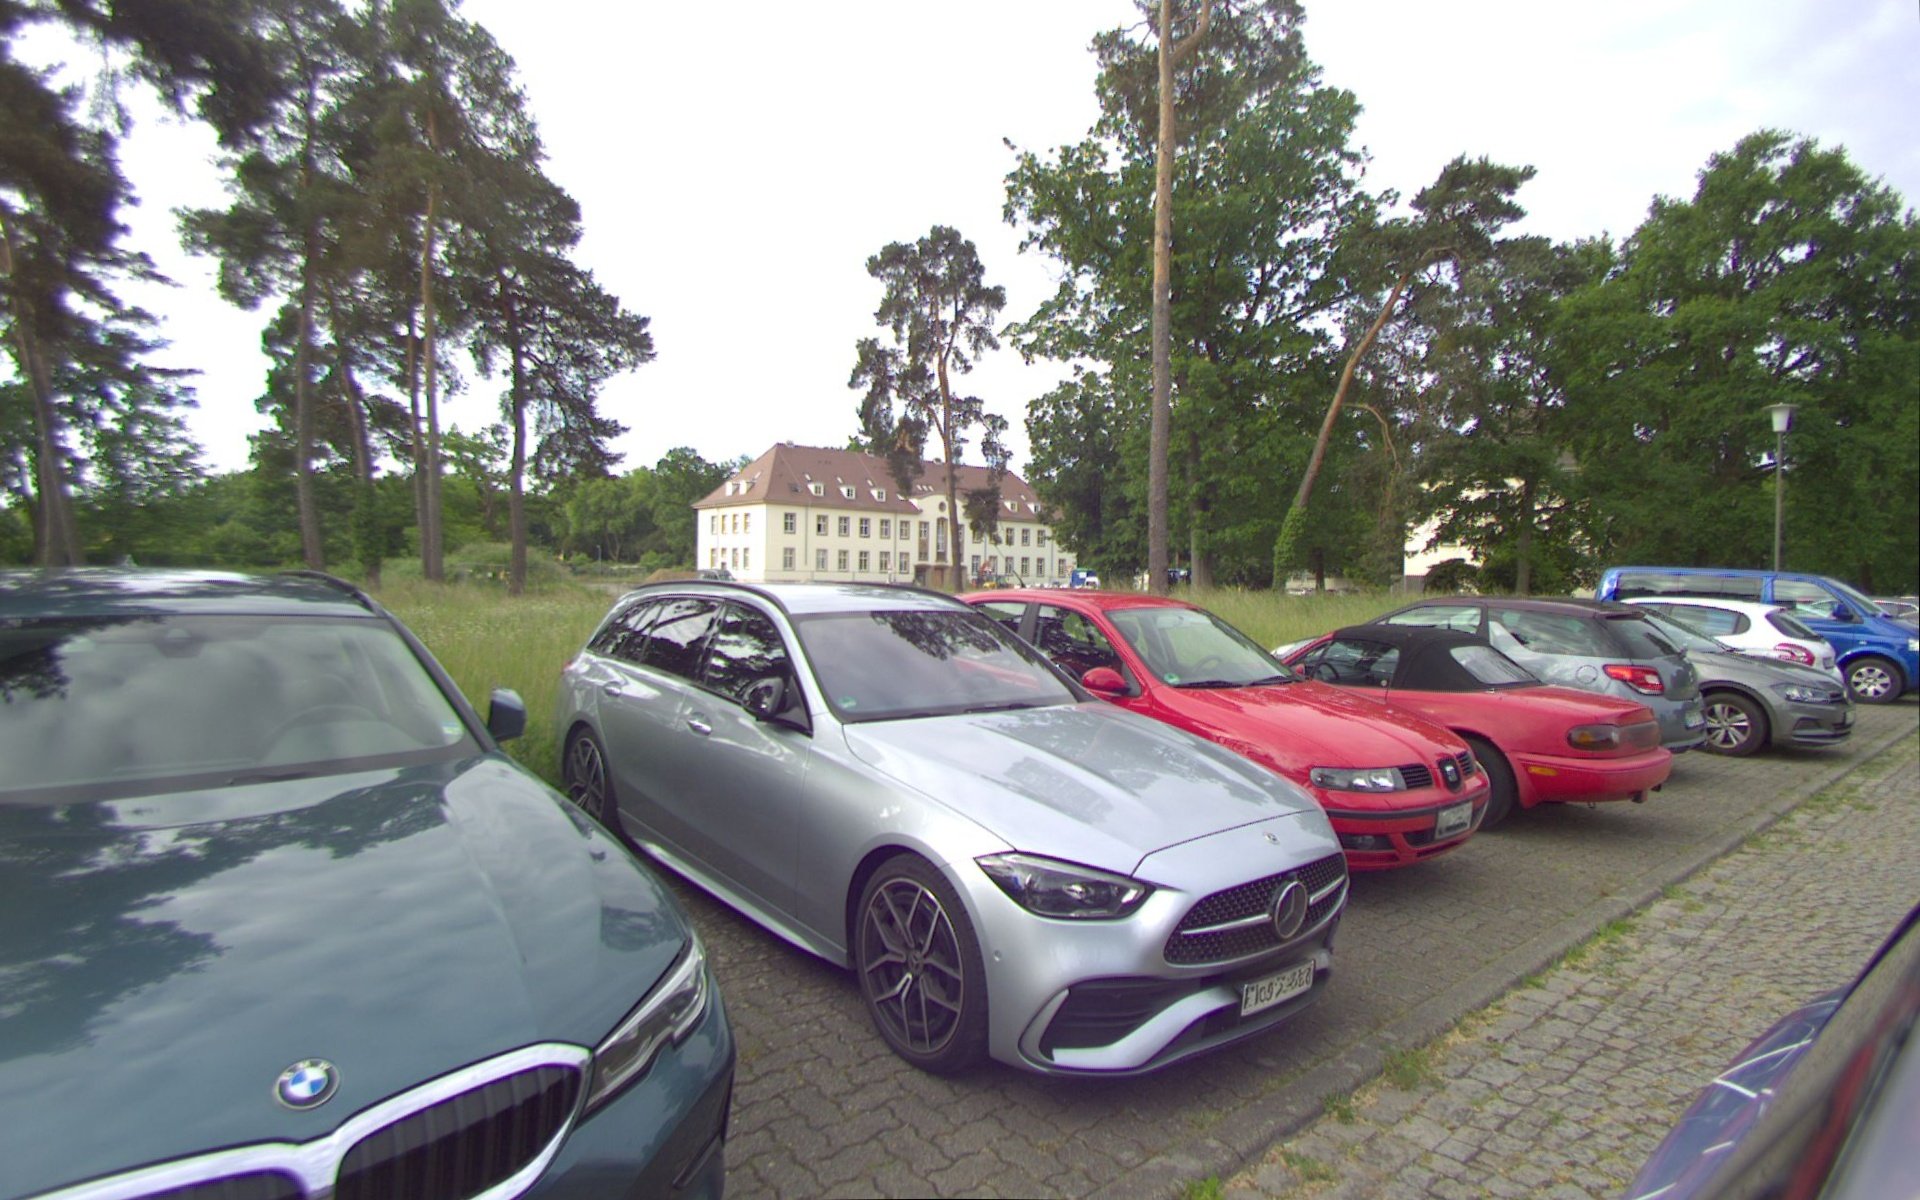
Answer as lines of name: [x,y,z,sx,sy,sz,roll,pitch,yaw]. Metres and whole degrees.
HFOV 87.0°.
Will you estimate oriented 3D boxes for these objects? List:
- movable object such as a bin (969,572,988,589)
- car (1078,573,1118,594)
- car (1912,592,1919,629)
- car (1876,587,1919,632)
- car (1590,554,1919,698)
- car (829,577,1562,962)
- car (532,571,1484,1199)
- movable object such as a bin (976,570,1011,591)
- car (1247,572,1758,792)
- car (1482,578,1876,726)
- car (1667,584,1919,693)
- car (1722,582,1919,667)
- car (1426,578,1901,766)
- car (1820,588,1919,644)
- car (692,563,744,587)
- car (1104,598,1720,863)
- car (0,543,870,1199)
movable object such as a bin: [2.205,-2.343,120.228,1.522,2.039,2.991,1,1,-13]
car: [13.831,-1.616,101.429,1.994,2.039,3.935,2,1,45]
car: [38.789,0.502,38.295,1.555,1.443,3.875,0,3,-41]
car: [35.109,0.401,35.561,1.555,1.557,4.148,0,3,-41]
car: [13.405,0.324,16.566,1.968,1.969,4.817,0,3,-41]
car: [1.122,0.672,6.452,1.838,1.434,4.272,0,3,-40]
car: [-0.252,0.682,4.754,1.839,1.434,4.429,0,3,-43]
movable object such as a bin: [3.401,-1.975,103.108,3.180,2.039,1.682,0,1,-33]
car: [4.910,0.573,9.588,1.727,1.490,3.870,0,3,-41]
car: [9.293,0.550,13.352,1.726,1.490,3.873,0,3,-39]
car: [15.314,0.622,18.203,1.809,1.489,3.872,0,5,-41]
car: [19.779,0.510,22.472,1.790,1.618,4.268,0,3,-41]
car: [7.412,0.605,10.978,1.727,1.490,3.871,0,3,-40]
car: [27.409,0.496,29.085,1.555,1.478,3.892,0,3,-41]
car: [-24.734,-2.570,103.352,5.849,2.269,2.282,4,3,43]
car: [3.151,0.725,7.669,1.727,1.251,3.870,0,3,-41]
car: [-2.443,0.600,3.129,1.839,1.434,4.689,0,3,-42]
